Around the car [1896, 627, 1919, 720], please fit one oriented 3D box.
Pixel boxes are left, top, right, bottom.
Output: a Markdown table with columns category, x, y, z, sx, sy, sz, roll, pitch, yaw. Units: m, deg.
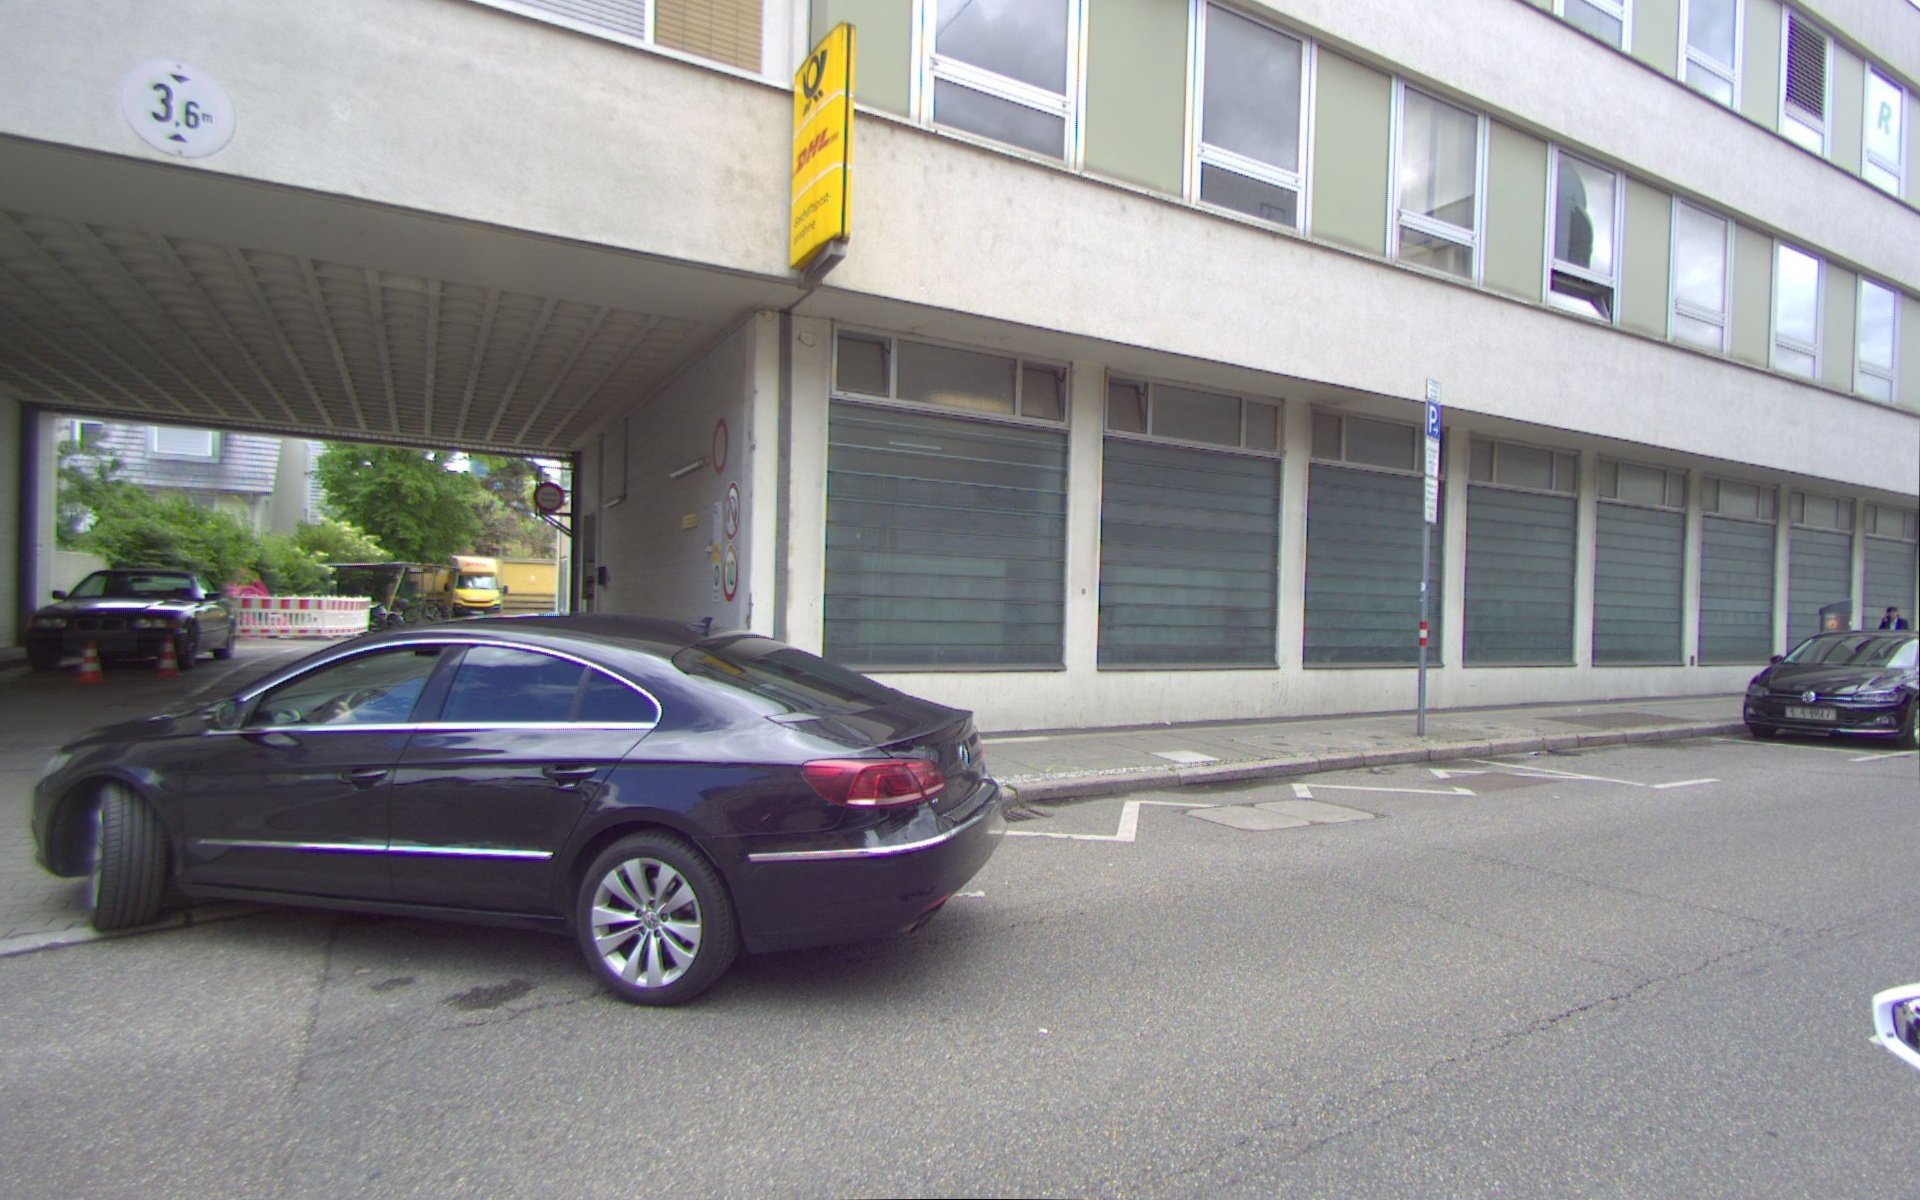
| category | x | y | z | sx | sy | sz | roll | pitch | yaw |
| --- | --- | --- | --- | --- | --- | --- | --- | --- | --- |
| car | 17.175 | 1.174 | 16.136 | 4.209 | 1.444 | 1.809 | 1 | -1 | -27 |

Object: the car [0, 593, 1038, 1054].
| category | x | y | z | sx | sy | sz | roll | pitch | yaw |
| --- | --- | --- | --- | --- | --- | --- | --- | --- | --- |
| car | -1.953 | 0.741 | 4.700 | 4.364 | 1.417 | 1.658 | 2 | 0 | 15 |

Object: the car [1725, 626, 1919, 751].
| category | x | y | z | sx | sy | sz | roll | pitch | yaw |
| --- | --- | --- | --- | --- | --- | --- | --- | --- | --- |
| car | 12.107 | 1.086 | 13.427 | 3.826 | 1.444 | 1.708 | 1 | -1 | -31 |

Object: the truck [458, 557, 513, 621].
| category | x | y | z | sx | sy | sz | roll | pitch | yaw |
| --- | --- | --- | --- | --- | --- | --- | --- | --- | --- |
| truck | -22.677 | -0.578 | 48.213 | 1.971 | 2.789 | 7.255 | 1 | 1 | -23 |

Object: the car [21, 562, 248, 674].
| category | x | y | z | sx | sy | sz | roll | pitch | yaw |
| --- | --- | --- | --- | --- | --- | --- | --- | --- | --- |
| car | -11.518 | 0.202 | 14.335 | 1.604 | 1.341 | 4.421 | 1 | 0 | -28 |

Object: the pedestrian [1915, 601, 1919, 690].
| category | x | y | z | sx | sy | sz | roll | pitch | yaw |
| --- | --- | --- | --- | --- | --- | --- | --- | --- | --- |
| pedestrian | 19.225 | 0.896 | 19.602 | 1.043 | 1.741 | 0.586 | 1 | 0 | -31 |

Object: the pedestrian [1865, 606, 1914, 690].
| category | x | y | z | sx | sy | sz | roll | pitch | yaw |
| --- | --- | --- | --- | --- | --- | --- | --- | --- | --- |
| pedestrian | 19.669 | 0.995 | 21.258 | 0.642 | 1.741 | 0.586 | 1 | 0 | -30 |
